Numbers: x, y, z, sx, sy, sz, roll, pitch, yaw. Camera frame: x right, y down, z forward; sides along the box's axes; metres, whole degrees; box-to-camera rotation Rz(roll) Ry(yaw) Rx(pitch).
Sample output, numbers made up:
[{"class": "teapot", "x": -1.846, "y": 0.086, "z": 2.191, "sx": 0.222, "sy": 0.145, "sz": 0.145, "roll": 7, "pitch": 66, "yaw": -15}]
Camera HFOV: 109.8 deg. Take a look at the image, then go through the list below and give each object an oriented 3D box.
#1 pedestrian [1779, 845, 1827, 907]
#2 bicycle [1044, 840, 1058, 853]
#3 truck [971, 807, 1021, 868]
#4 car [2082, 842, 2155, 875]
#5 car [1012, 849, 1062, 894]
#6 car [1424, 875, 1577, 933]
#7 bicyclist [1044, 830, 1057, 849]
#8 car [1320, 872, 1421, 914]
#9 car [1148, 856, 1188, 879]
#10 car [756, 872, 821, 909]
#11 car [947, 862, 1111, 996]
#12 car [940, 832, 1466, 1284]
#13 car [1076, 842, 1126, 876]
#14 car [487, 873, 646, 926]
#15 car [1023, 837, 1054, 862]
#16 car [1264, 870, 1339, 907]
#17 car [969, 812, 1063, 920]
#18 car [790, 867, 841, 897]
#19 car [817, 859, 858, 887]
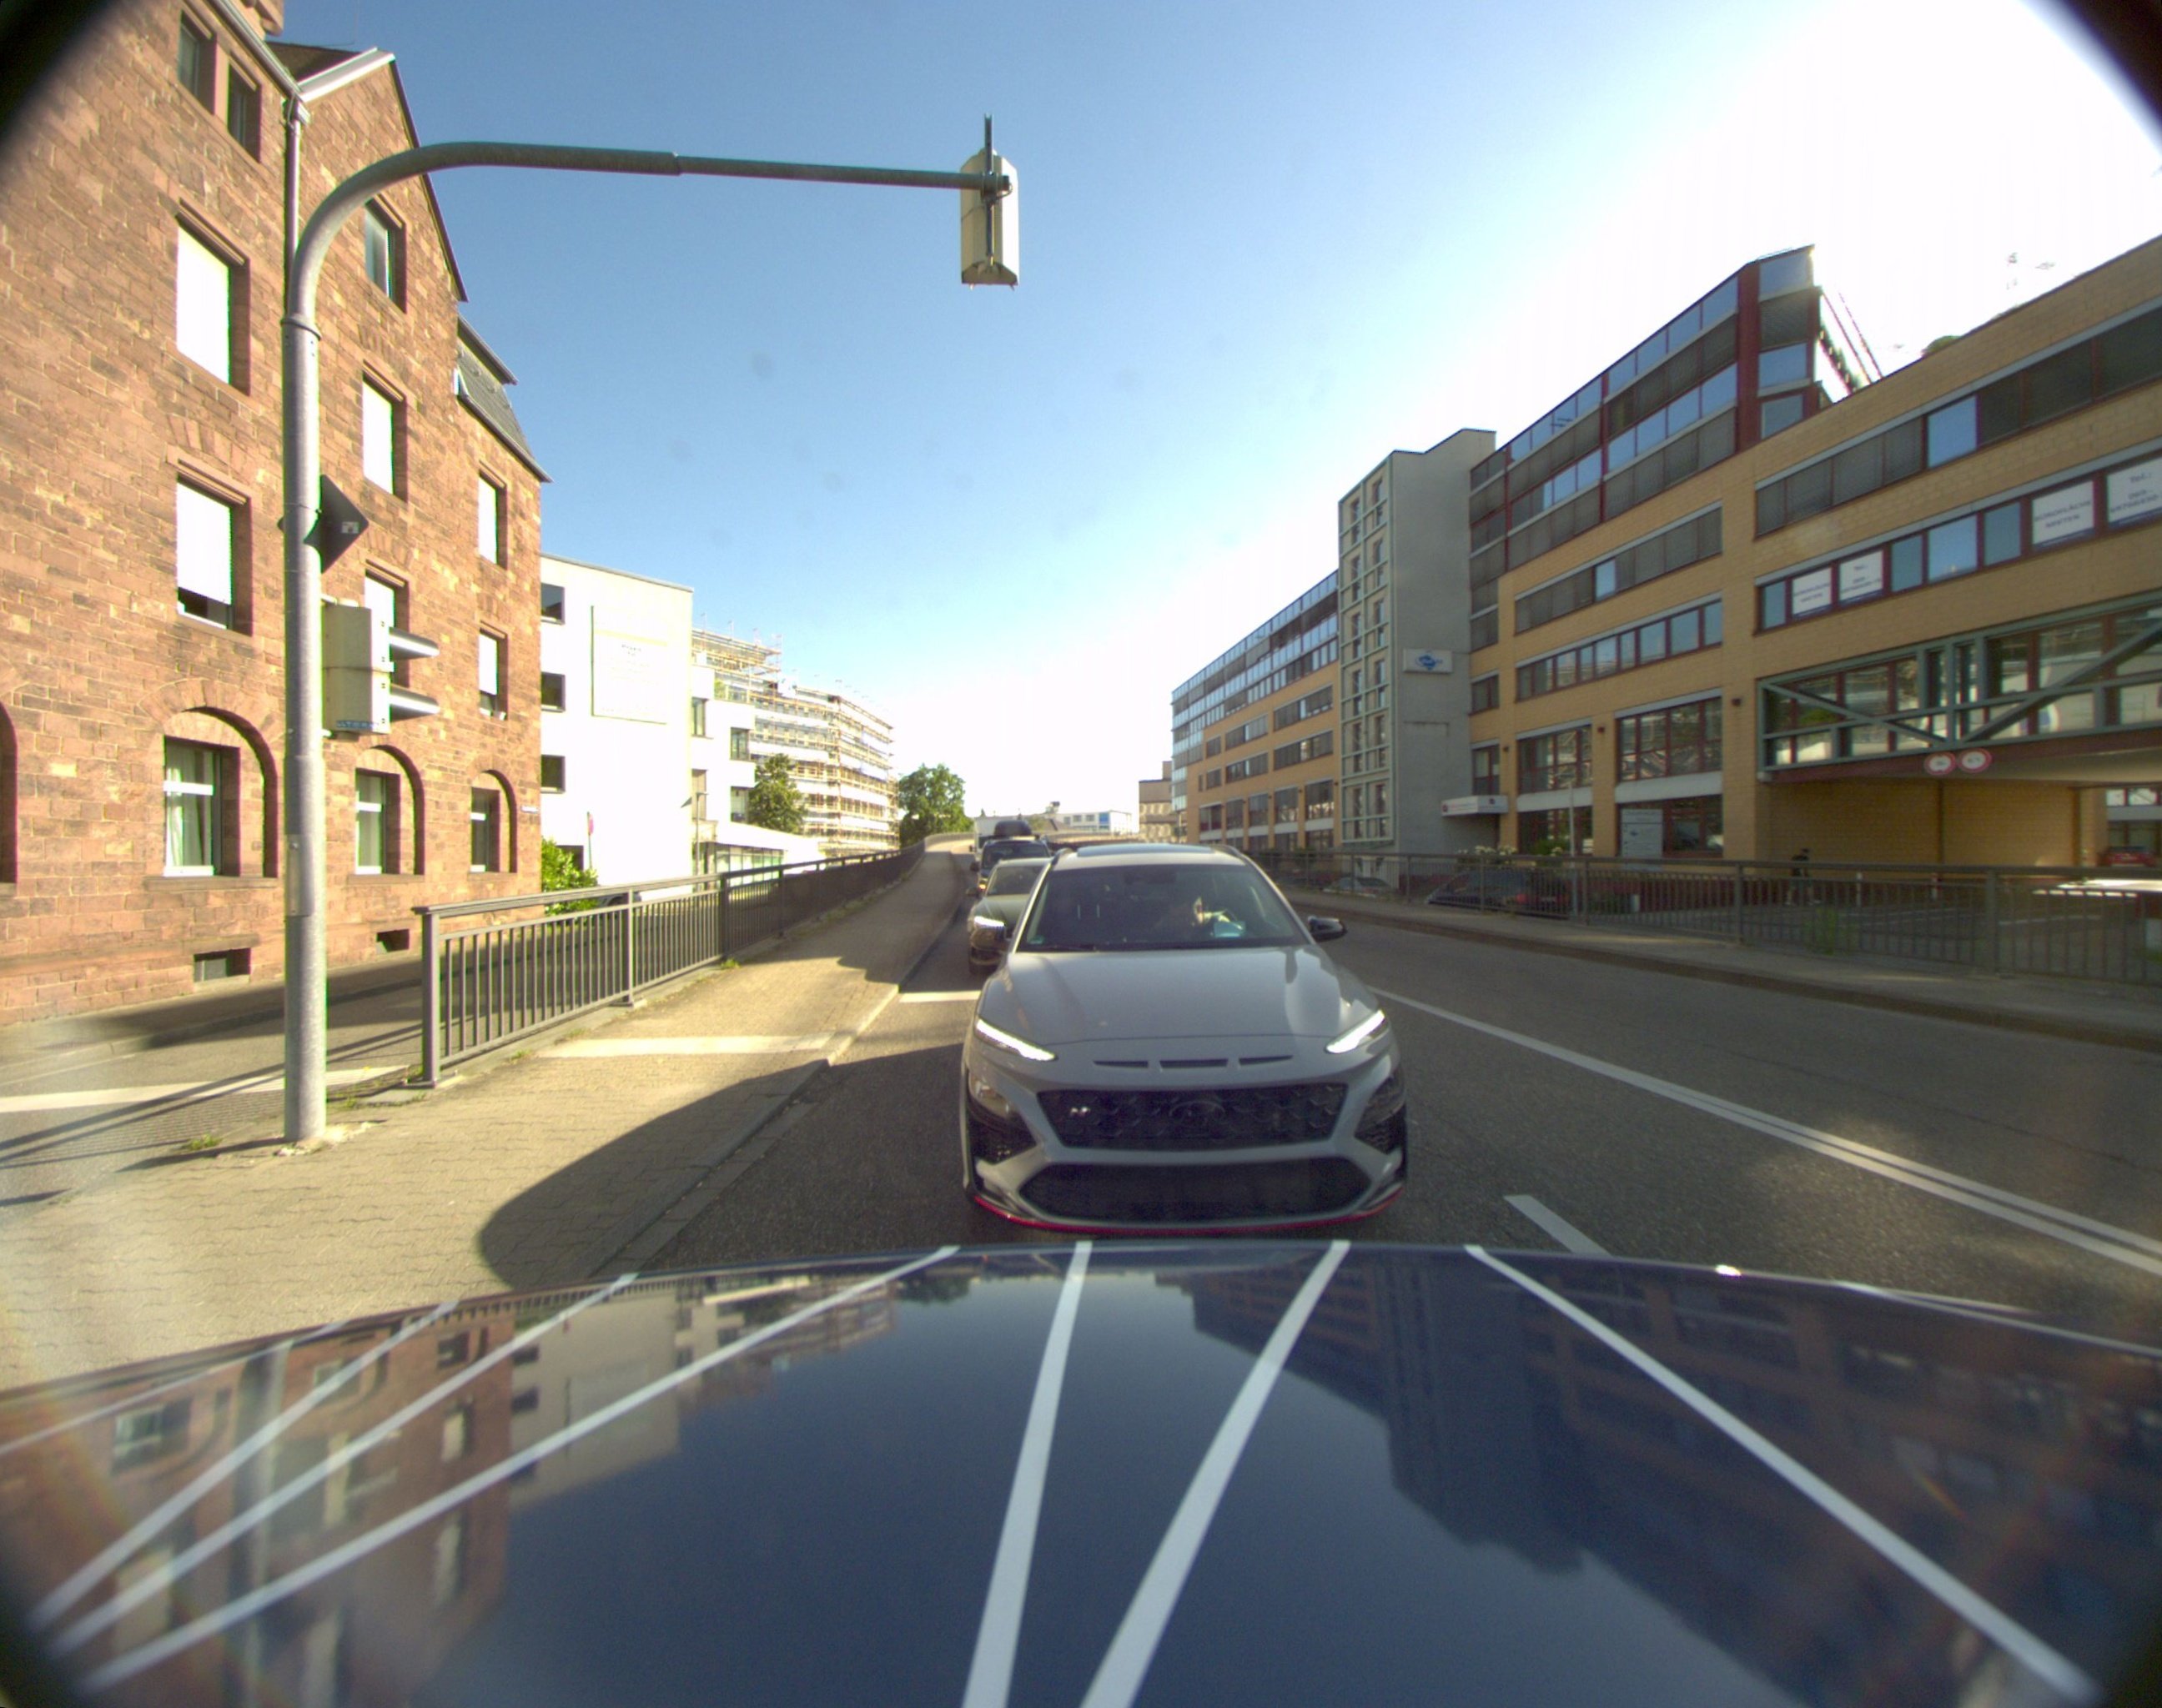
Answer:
[{"class": "pedestrian", "x": 22.219, "y": 0.676, "z": 23.384, "sx": 0.747, "sy": 1.840, "sz": 0.705, "roll": -2, "pitch": 0, "yaw": -5}, {"class": "bicycle", "x": -2.973, "y": -0.704, "z": 75.262, "sx": 1.083, "sy": 1.223, "sz": 2.781, "roll": -2, "pitch": 1, "yaw": -9}, {"class": "truck", "x": -4.780, "y": -0.797, "z": 42.478, "sx": 2.504, "sy": 3.109, "sz": 6.956, "roll": -1, "pitch": -1, "yaw": -7}, {"class": "car", "x": 54.031, "y": 0.221, "z": 39.644, "sx": 4.007, "sy": 1.512, "sz": 1.763, "roll": -3, "pitch": 1, "yaw": -43}, {"class": "car", "x": -1.808, "y": 0.696, "z": 30.943, "sx": 1.879, "sy": 1.699, "sz": 4.195, "roll": 0, "pitch": -1, "yaw": -4}, {"class": "car", "x": 12.447, "y": 1.408, "z": 22.861, "sx": 1.639, "sy": 1.514, "sz": 4.156, "roll": 0, "pitch": -1, "yaw": -14}, {"class": "bicyclist", "x": -3.002, "y": -1.404, "z": 75.232, "sx": 1.083, "sy": 1.861, "sz": 1.083, "roll": -2, "pitch": 1, "yaw": -9}, {"class": "car", "x": 11.471, "y": 1.506, "z": 30.428, "sx": 1.881, "sy": 1.514, "sz": 4.157, "roll": 0, "pitch": -1, "yaw": -11}, {"class": "car", "x": 6.386, "y": 0.966, "z": 56.062, "sx": 2.000, "sy": 1.499, "sz": 3.997, "roll": -2, "pitch": 1, "yaw": -7}, {"class": "car", "x": -13.351, "y": 1.625, "z": 34.969, "sx": 2.054, "sy": 1.522, "sz": 4.089, "roll": -1, "pitch": -1, "yaw": -11}, {"class": "car", "x": -0.763, "y": 0.883, "z": 11.083, "sx": 1.879, "sy": 1.462, "sz": 4.633, "roll": 0, "pitch": 0, "yaw": -4}, {"class": "car", "x": 0.506, "y": 0.744, "z": 4.830, "sx": 1.878, "sy": 1.612, "sz": 4.197, "roll": 0, "pitch": 0, "yaw": 2}, {"class": "car", "x": 0.836, "y": 0.242, "z": 33.774, "sx": 1.573, "sy": 1.399, "sz": 3.819, "roll": -1, "pitch": -1, "yaw": -9}, {"class": "car", "x": -17.047, "y": 1.444, "z": 25.305, "sx": 4.101, "sy": 1.522, "sz": 1.914, "roll": 0, "pitch": -1, "yaw": -44}, {"class": "car", "x": -3.163, "y": -0.310, "z": 55.506, "sx": 1.838, "sy": 1.745, "sz": 4.485, "roll": 0, "pitch": 1, "yaw": -9}, {"class": "car", "x": 10.262, "y": 1.575, "z": 35.663, "sx": 1.885, "sy": 1.554, "sz": 3.997, "roll": 0, "pitch": -1, "yaw": -9}, {"class": "car", "x": -1.583, "y": 0.271, "z": 18.335, "sx": 1.951, "sy": 2.248, "sz": 4.783, "roll": 0, "pitch": -1, "yaw": -5}, {"class": "car", "x": -14.405, "y": 1.484, "z": 41.430, "sx": 2.054, "sy": 1.522, "sz": 4.089, "roll": -1, "pitch": -1, "yaw": -11}, {"class": "car", "x": -15.790, "y": 1.231, "z": 49.436, "sx": 2.054, "sy": 1.676, "sz": 4.089, "roll": -1, "pitch": -1, "yaw": -11}]
